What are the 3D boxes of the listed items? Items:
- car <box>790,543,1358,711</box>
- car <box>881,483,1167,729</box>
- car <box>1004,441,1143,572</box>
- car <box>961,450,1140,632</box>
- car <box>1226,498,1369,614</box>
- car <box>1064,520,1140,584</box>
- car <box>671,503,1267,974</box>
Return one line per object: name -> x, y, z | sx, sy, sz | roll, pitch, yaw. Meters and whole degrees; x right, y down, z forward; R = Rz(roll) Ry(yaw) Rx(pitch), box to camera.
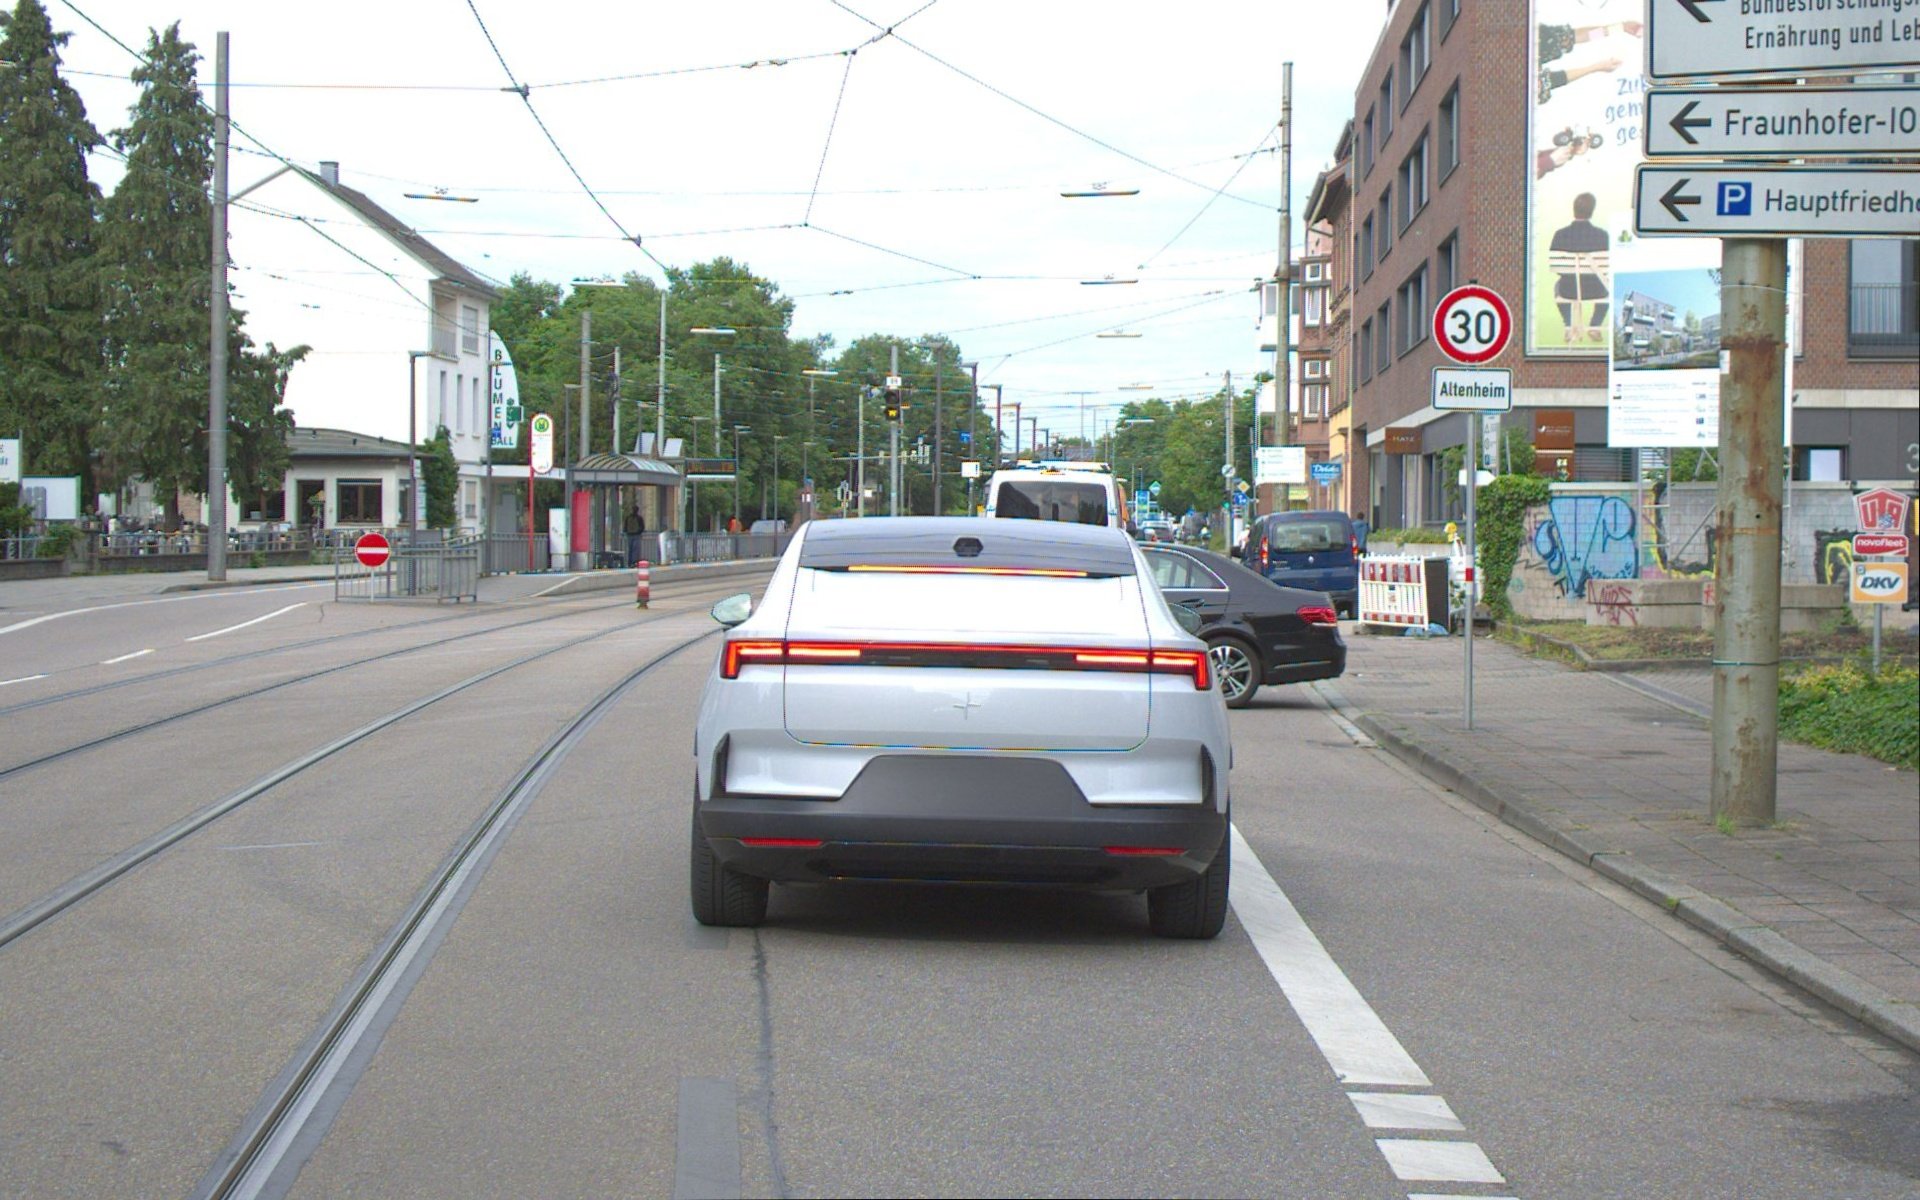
car -> 0.965, 0.226, 30.923 | 4.869, 1.422, 1.953 | 0, 1, -6
car -> 0.428, 0.023, 27.294 | 1.968, 1.750, 3.838 | 2, 1, -3
car -> 1.946, -1.599, 60.447 | 2.139, 2.138, 4.744 | 2, 1, -1
car -> 1.240, -0.833, 49.614 | 2.216, 2.415, 4.952 | 2, 1, -2
car -> 5.633, -0.743, 57.828 | 1.874, 1.817, 4.096 | 2, 1, -1
car -> 4.680, -1.579, 113.658 | 1.993, 2.007, 4.001 | 2, 1, -4
car -> -0.112, 0.432, 13.790 | 1.981, 1.544, 4.184 | 2, 1, -4
